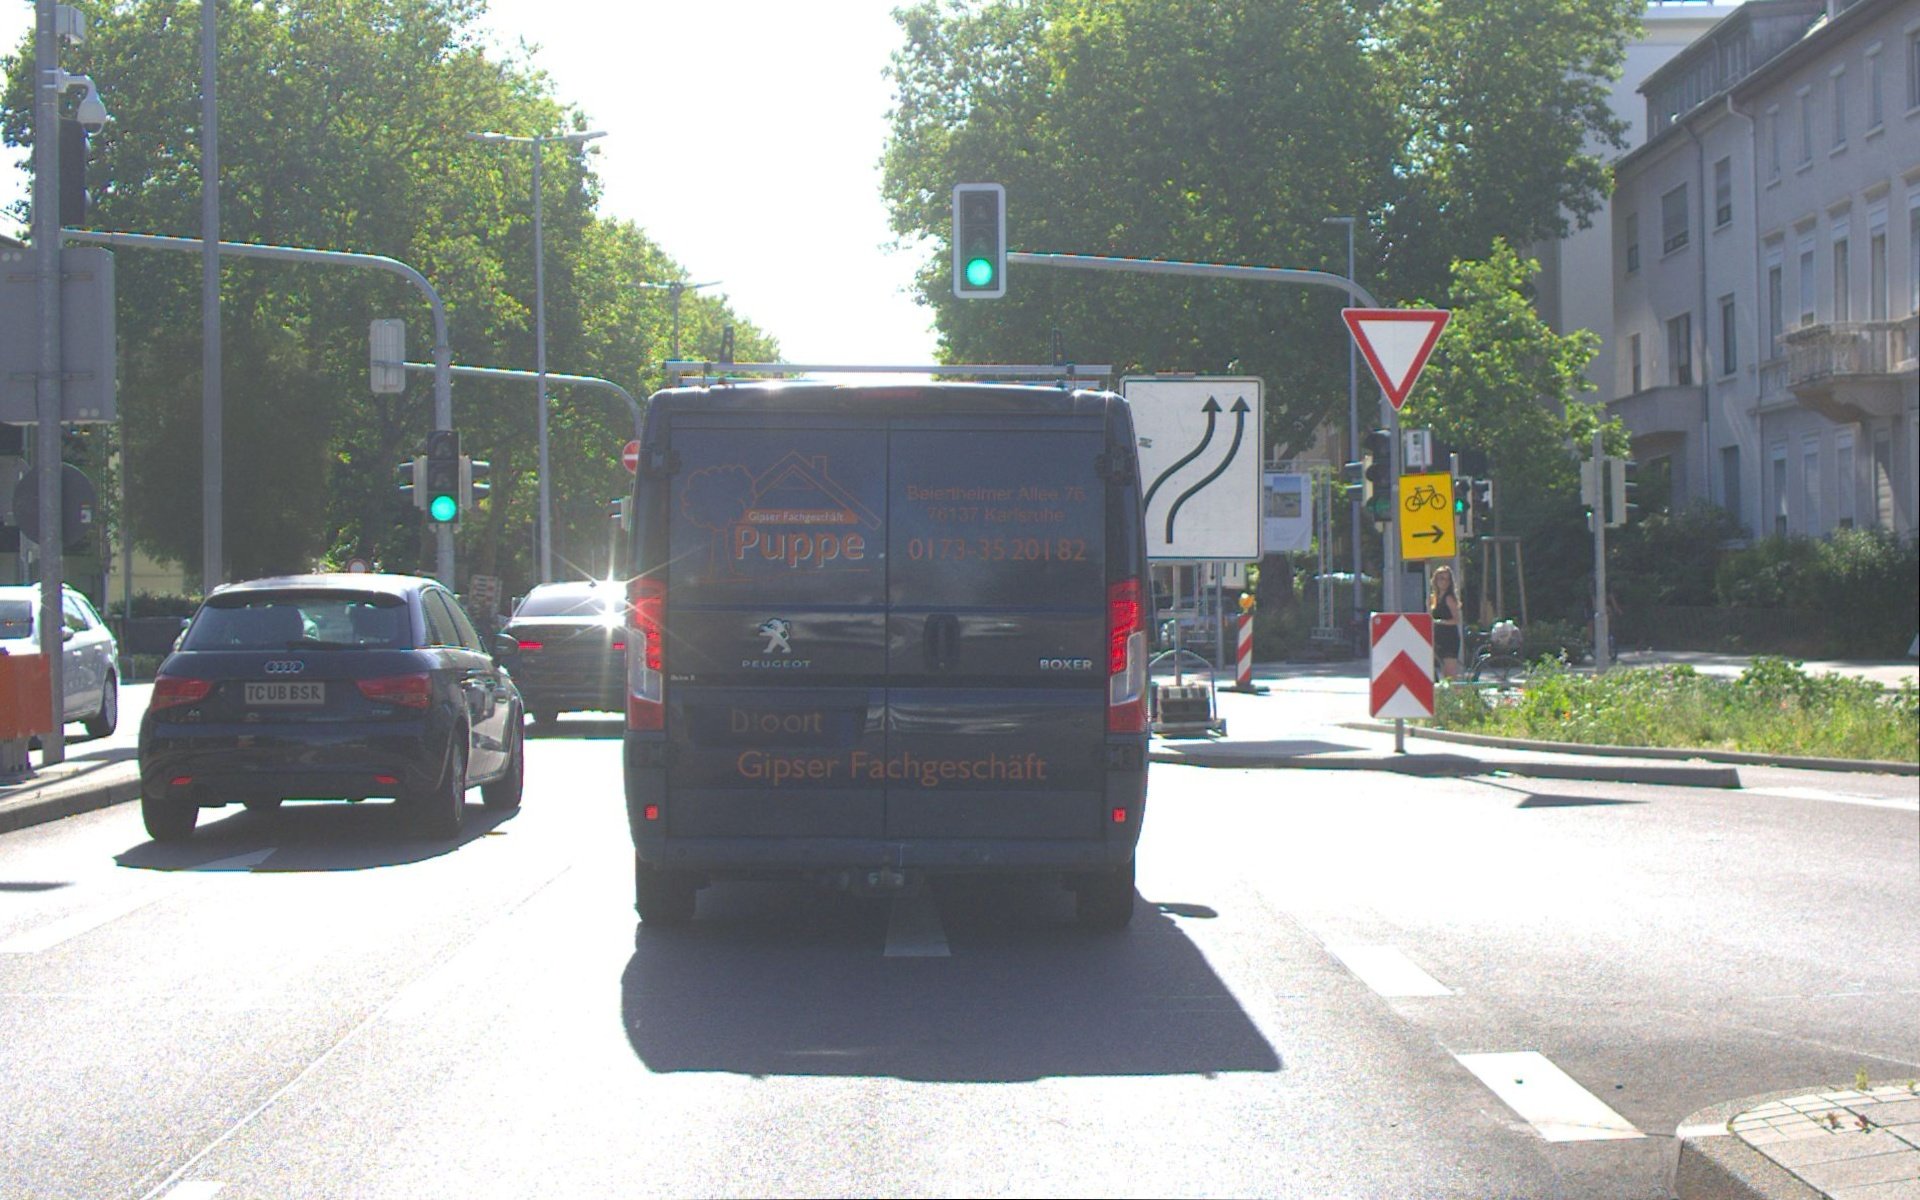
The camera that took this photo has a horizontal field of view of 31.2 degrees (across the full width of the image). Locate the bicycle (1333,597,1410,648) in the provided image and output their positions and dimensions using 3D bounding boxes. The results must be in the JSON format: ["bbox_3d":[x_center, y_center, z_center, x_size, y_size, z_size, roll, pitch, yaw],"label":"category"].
[{"bbox_3d":[8.210,0.447,68.461,0.588,1.002,2.127,0,0,35],"label":"bicycle"}]

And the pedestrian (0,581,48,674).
[{"bbox_3d":[-17.498,0.506,63.590,0.865,1.705,1.012,-1,0,7],"label":"pedestrian"}]

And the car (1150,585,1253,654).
[{"bbox_3d":[5.382,0.421,77.204,1.852,1.474,4.942,0,0,-1],"label":"car"}]

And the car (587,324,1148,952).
[{"bbox_3d":[-0.372,0.126,14.847,2.095,2.347,3.933,0,0,-1],"label":"car"}]

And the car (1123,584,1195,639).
[{"bbox_3d":[5.560,0.323,96.431,1.763,1.503,4.251,0,0,0],"label":"car"}]

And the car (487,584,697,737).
[{"bbox_3d":[-3.599,0.588,34.198,1.746,1.402,4.000,1,-1,-2],"label":"car"}]

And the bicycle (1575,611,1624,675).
[{"bbox_3d":[11.401,0.760,61.297,0.688,1.094,1.686,-1,0,5],"label":"bicycle"}]

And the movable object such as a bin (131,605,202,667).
[{"bbox_3d":[-17.988,0.813,77.994,1.114,1.383,1.855,0,0,2],"label":"movable object such as a bin"}]

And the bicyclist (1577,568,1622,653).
[{"bbox_3d":[11.390,0.188,61.243,0.724,1.494,0.871,-1,0,7],"label":"bicyclist"}]

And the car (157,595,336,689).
[{"bbox_3d":[-12.002,0.683,58.108,1.993,1.448,4.390,-1,1,1],"label":"car"}]

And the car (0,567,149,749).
[{"bbox_3d":[-9.049,0.505,31.502,1.993,1.448,4.618,-2,2,1],"label":"car"}]

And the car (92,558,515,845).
[{"bbox_3d":[-3.636,0.497,19.682,1.746,1.402,4.001,1,1,-2],"label":"car"}]

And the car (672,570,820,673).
[{"bbox_3d":[-3.218,0.293,52.496,1.911,1.439,4.602,1,1,1],"label":"car"}]

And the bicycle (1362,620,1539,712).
[{"bbox_3d":[5.731,0.769,40.210,1.962,1.022,0.605,1,1,0],"label":"bicycle"}]

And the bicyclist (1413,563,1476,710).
[{"bbox_3d":[5.674,0.420,40.263,0.603,1.703,0.858,-1,0,0],"label":"bicyclist"}]
